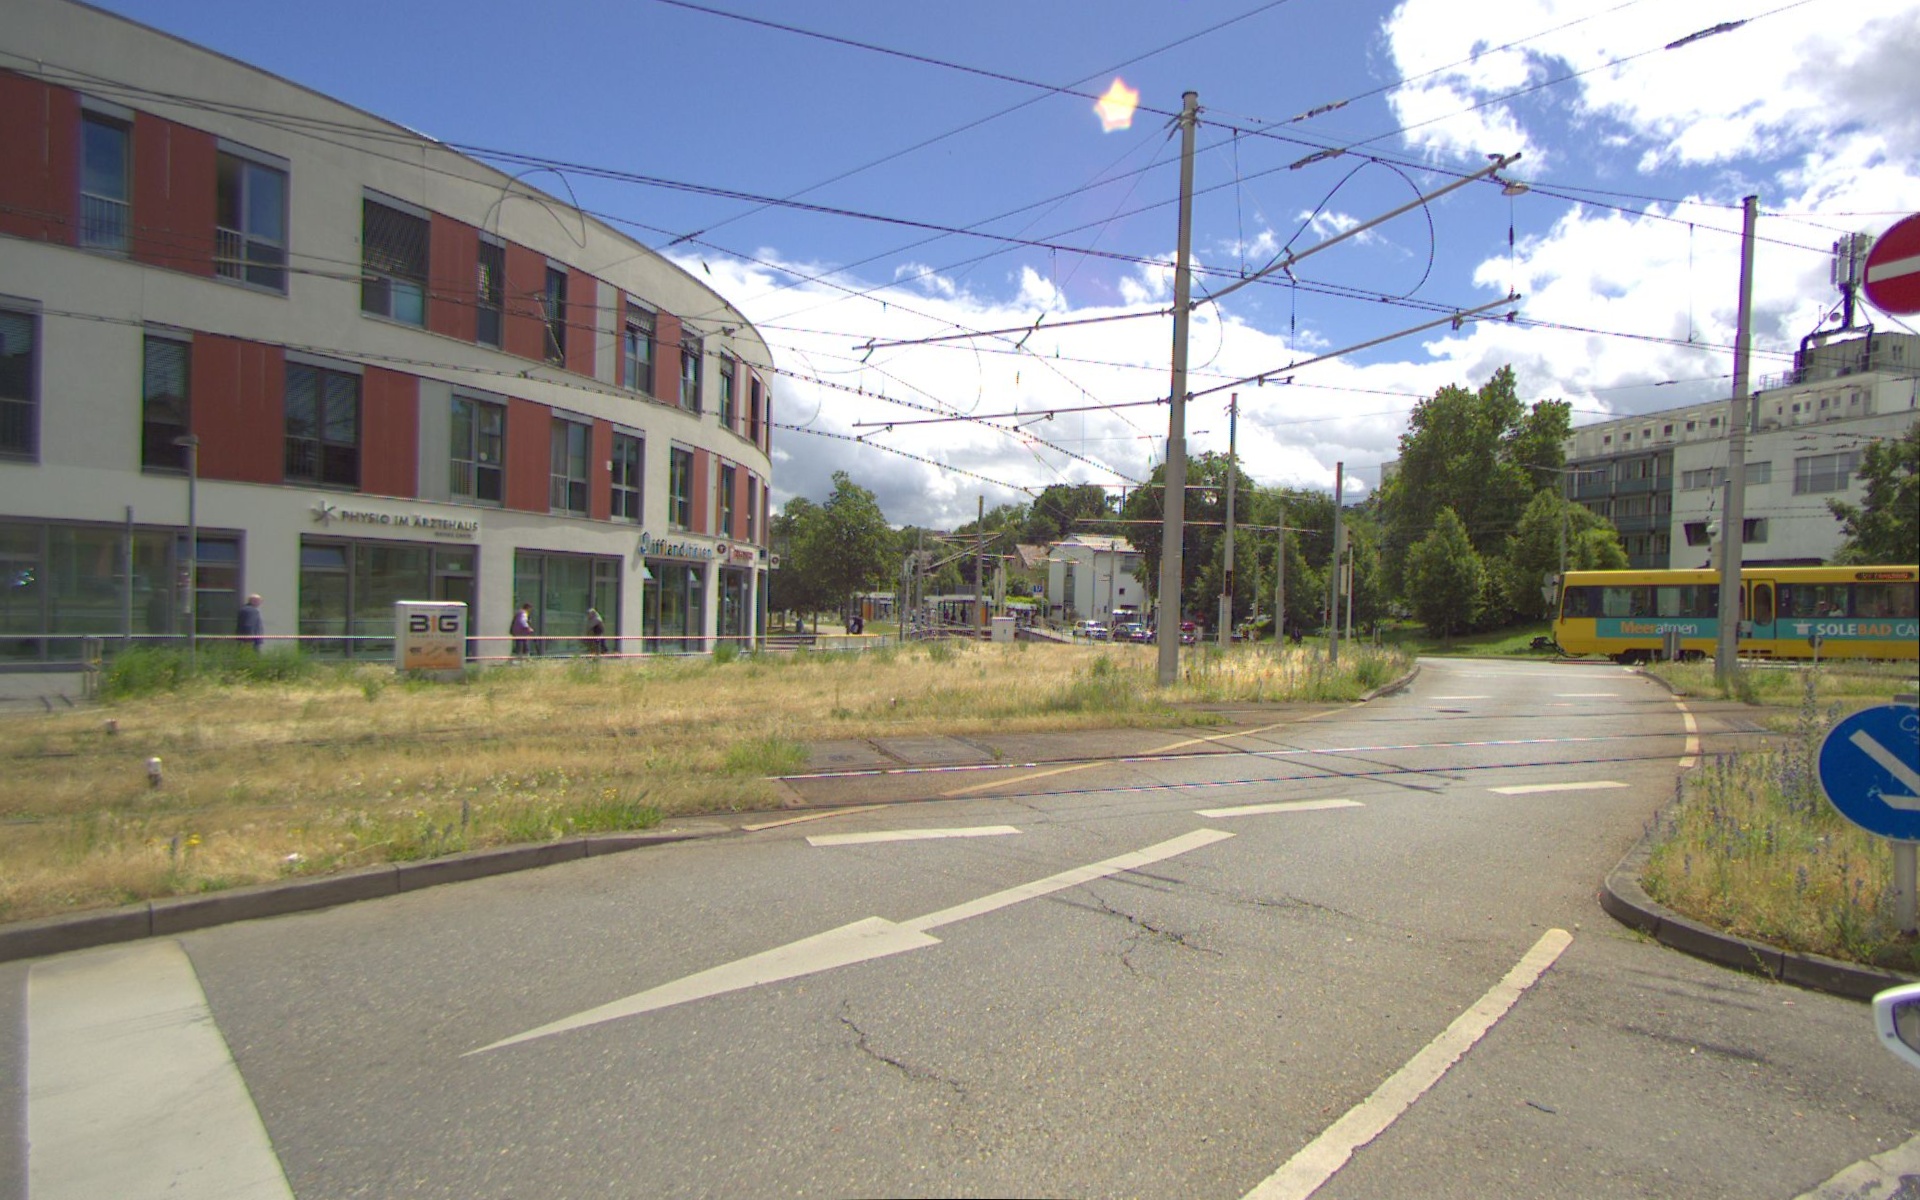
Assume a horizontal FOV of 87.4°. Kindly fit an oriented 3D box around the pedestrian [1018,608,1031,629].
[{"bbox_3d":[5.225,1.503,81.808,0.823,1.755,0.796,1,0,-14],"label":"pedestrian"}]

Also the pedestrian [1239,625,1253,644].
[{"bbox_3d":[24.201,2.949,85.039,0.830,1.597,0.811,0,0,-23],"label":"pedestrian"}]

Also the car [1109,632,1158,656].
[{"bbox_3d":[12.822,3.214,74.567,1.888,1.672,4.240,2,-2,-17],"label":"car"}]

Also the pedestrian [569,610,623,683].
[{"bbox_3d":[-10.275,1.310,28.367,0.849,1.994,1.114,0,-2,30],"label":"pedestrian"}]

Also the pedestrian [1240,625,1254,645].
[{"bbox_3d":[23.700,2.875,82.936,0.830,1.597,0.811,0,0,-23],"label":"pedestrian"}]

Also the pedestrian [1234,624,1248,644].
[{"bbox_3d":[23.696,2.873,84.815,0.830,1.597,0.811,0,0,-23],"label":"pedestrian"}]

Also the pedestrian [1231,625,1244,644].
[{"bbox_3d":[24.280,3.011,87.878,0.830,1.597,0.811,0,0,-23],"label":"pedestrian"}]

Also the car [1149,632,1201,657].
[{"bbox_3d":[15.902,3.276,74.487,1.990,1.814,4.224,1,-2,-17],"label":"car"}]

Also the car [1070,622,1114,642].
[{"bbox_3d":[10.580,2.563,80.794,1.907,1.575,4.476,2,-2,-17],"label":"car"}]

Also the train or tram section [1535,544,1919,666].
[{"bbox_3d":[30.828,0.227,35.033,18.551,3.970,3.756,0,-2,28],"label":"train or tram section"}]

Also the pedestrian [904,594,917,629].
[{"bbox_3d":[-8.578,1.998,174.438,1.963,5.998,2.369,1,-1,-7],"label":"pedestrian"}]

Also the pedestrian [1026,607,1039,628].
[{"bbox_3d":[5.794,1.392,80.421,0.823,1.714,0.616,1,0,-14],"label":"pedestrian"}]

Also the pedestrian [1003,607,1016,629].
[{"bbox_3d":[4.073,1.490,82.553,0.823,1.777,0.796,1,0,-14],"label":"pedestrian"}]

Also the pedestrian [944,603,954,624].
[{"bbox_3d":[-1.068,1.386,99.787,0.806,2.040,0.771,1,-1,-14],"label":"pedestrian"}]

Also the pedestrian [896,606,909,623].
[{"bbox_3d":[-6.709,1.703,117.721,1.240,2.040,1.121,2,-1,-17],"label":"pedestrian"}]

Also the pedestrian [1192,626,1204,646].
[{"bbox_3d":[22.254,3.359,93.890,0.818,1.891,0.818,1,0,-14],"label":"pedestrian"}]

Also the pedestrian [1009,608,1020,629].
[{"bbox_3d":[4.512,1.556,83.272,0.744,1.707,0.671,1,0,-14],"label":"pedestrian"}]

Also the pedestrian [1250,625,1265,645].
[{"bbox_3d":[24.577,2.896,83.020,0.830,1.597,0.811,0,0,-23],"label":"pedestrian"}]

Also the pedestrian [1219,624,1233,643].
[{"bbox_3d":[23.262,2.931,87.765,0.830,1.597,0.811,0,0,-23],"label":"pedestrian"}]

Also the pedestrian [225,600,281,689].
[{"bbox_3d":[-13.113,0.812,18.623,0.725,1.601,0.687,0,-1,42],"label":"pedestrian"}]

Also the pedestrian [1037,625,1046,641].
[{"bbox_3d":[9.742,3.907,119.520,0.818,1.891,0.818,1,0,-14],"label":"pedestrian"}]

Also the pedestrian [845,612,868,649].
[{"bbox_3d":[-4.736,1.384,45.991,0.847,1.646,0.733,1,-1,9],"label":"pedestrian"}]

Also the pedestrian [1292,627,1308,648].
[{"bbox_3d":[26.183,2.856,77.292,0.830,1.597,0.811,0,0,-23],"label":"pedestrian"}]

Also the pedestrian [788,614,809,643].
[{"bbox_3d":[-9.252,1.633,57.461,1.015,1.646,0.985,1,-1,0],"label":"pedestrian"}]

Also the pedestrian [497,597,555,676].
[{"bbox_3d":[-11.228,0.943,26.007,0.847,1.994,1.107,1,-1,11],"label":"pedestrian"}]
